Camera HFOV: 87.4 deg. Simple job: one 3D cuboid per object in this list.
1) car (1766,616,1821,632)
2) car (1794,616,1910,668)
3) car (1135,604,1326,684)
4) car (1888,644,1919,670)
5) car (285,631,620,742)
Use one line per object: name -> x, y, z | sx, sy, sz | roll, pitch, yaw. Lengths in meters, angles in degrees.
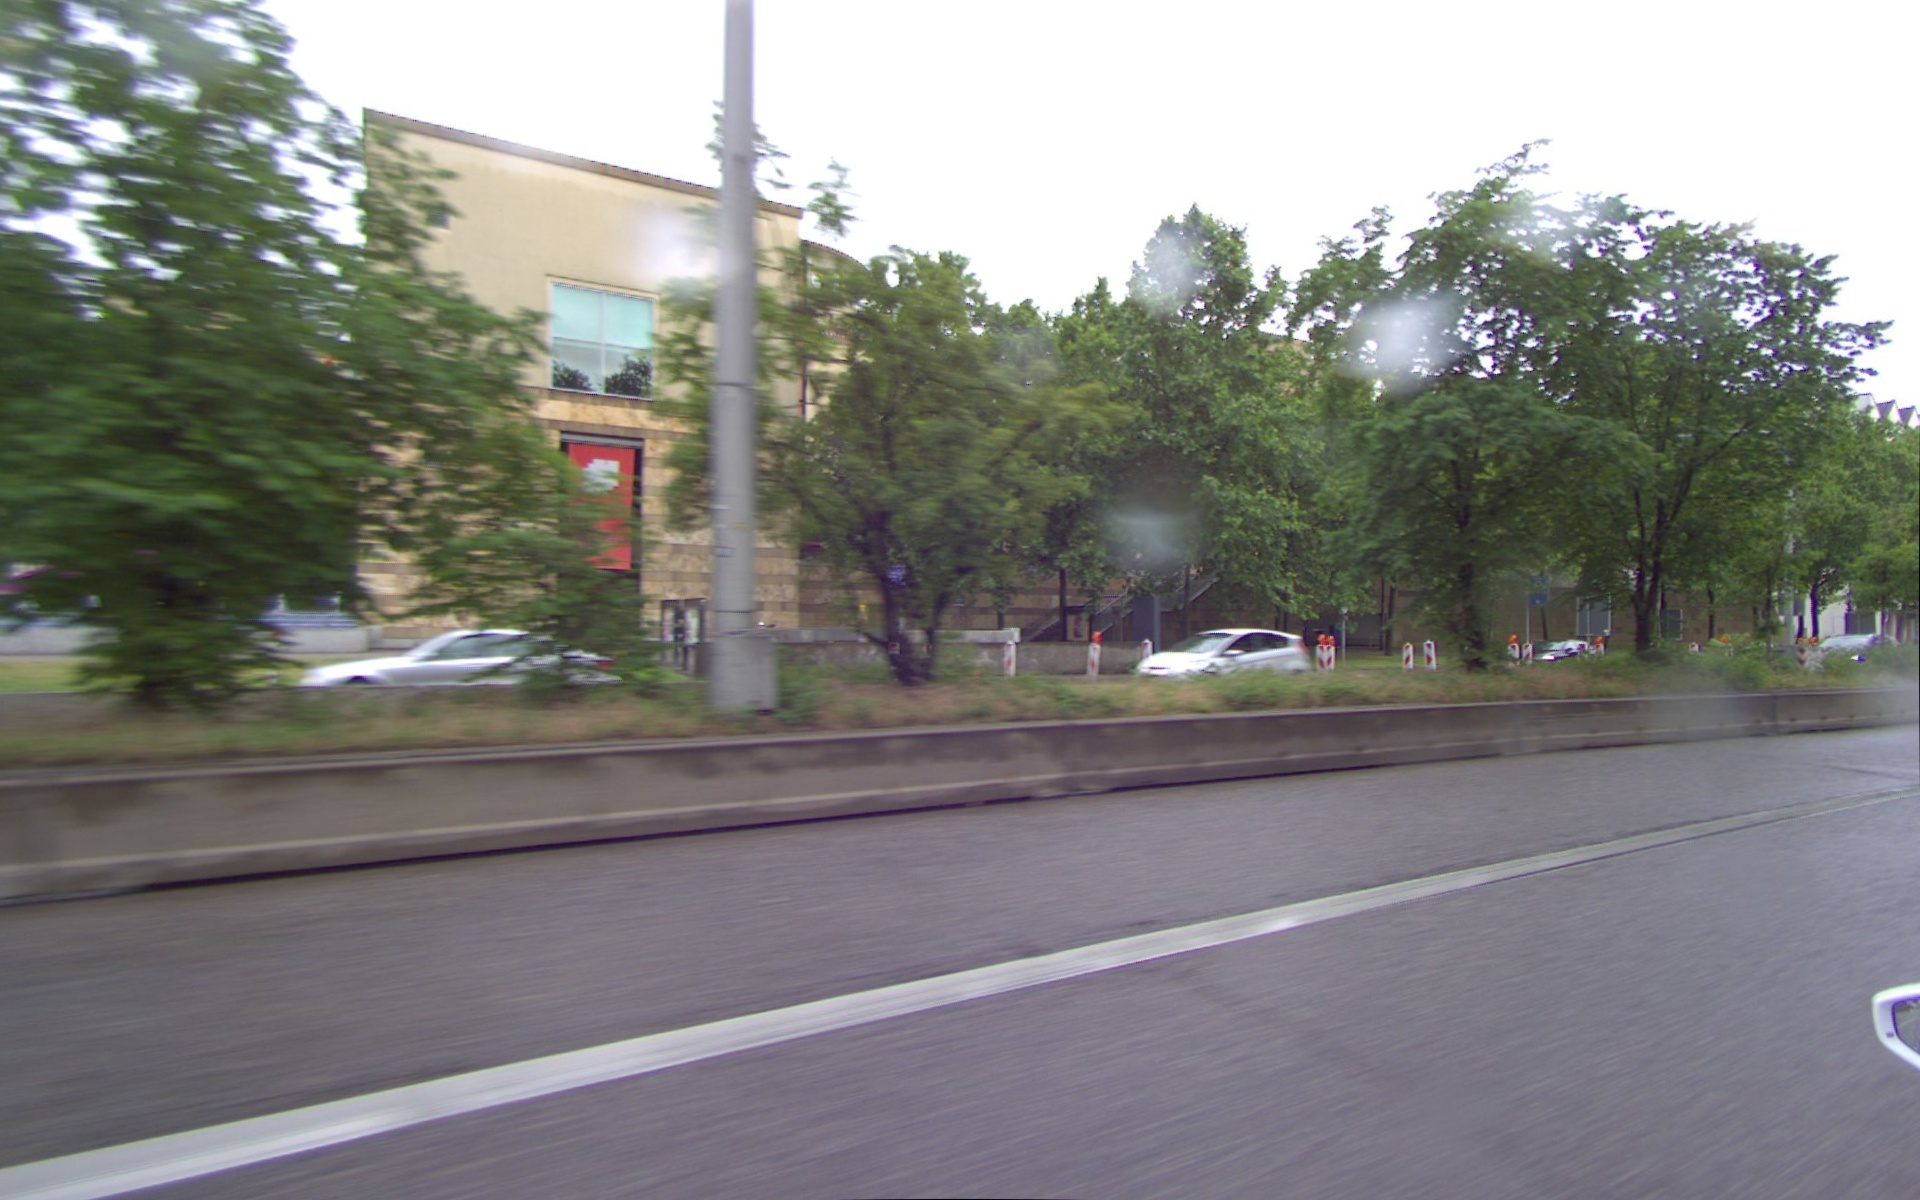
car -> 86.158, 2.504, 103.894 | 1.977, 1.617, 3.967 | 1, -1, -30
car -> 29.835, 1.387, 33.571 | 3.958, 1.617, 1.982 | 1, -1, -34
car -> 5.619, 0.878, 20.737 | 3.885, 1.528, 1.537 | 1, -1, -30
car -> 60.266, 3.584, 62.898 | 3.951, 1.550, 1.986 | 2, -3, -29
car -> -8.384, 1.401, 16.959 | 4.749, 1.646, 1.986 | 2, -3, -29
